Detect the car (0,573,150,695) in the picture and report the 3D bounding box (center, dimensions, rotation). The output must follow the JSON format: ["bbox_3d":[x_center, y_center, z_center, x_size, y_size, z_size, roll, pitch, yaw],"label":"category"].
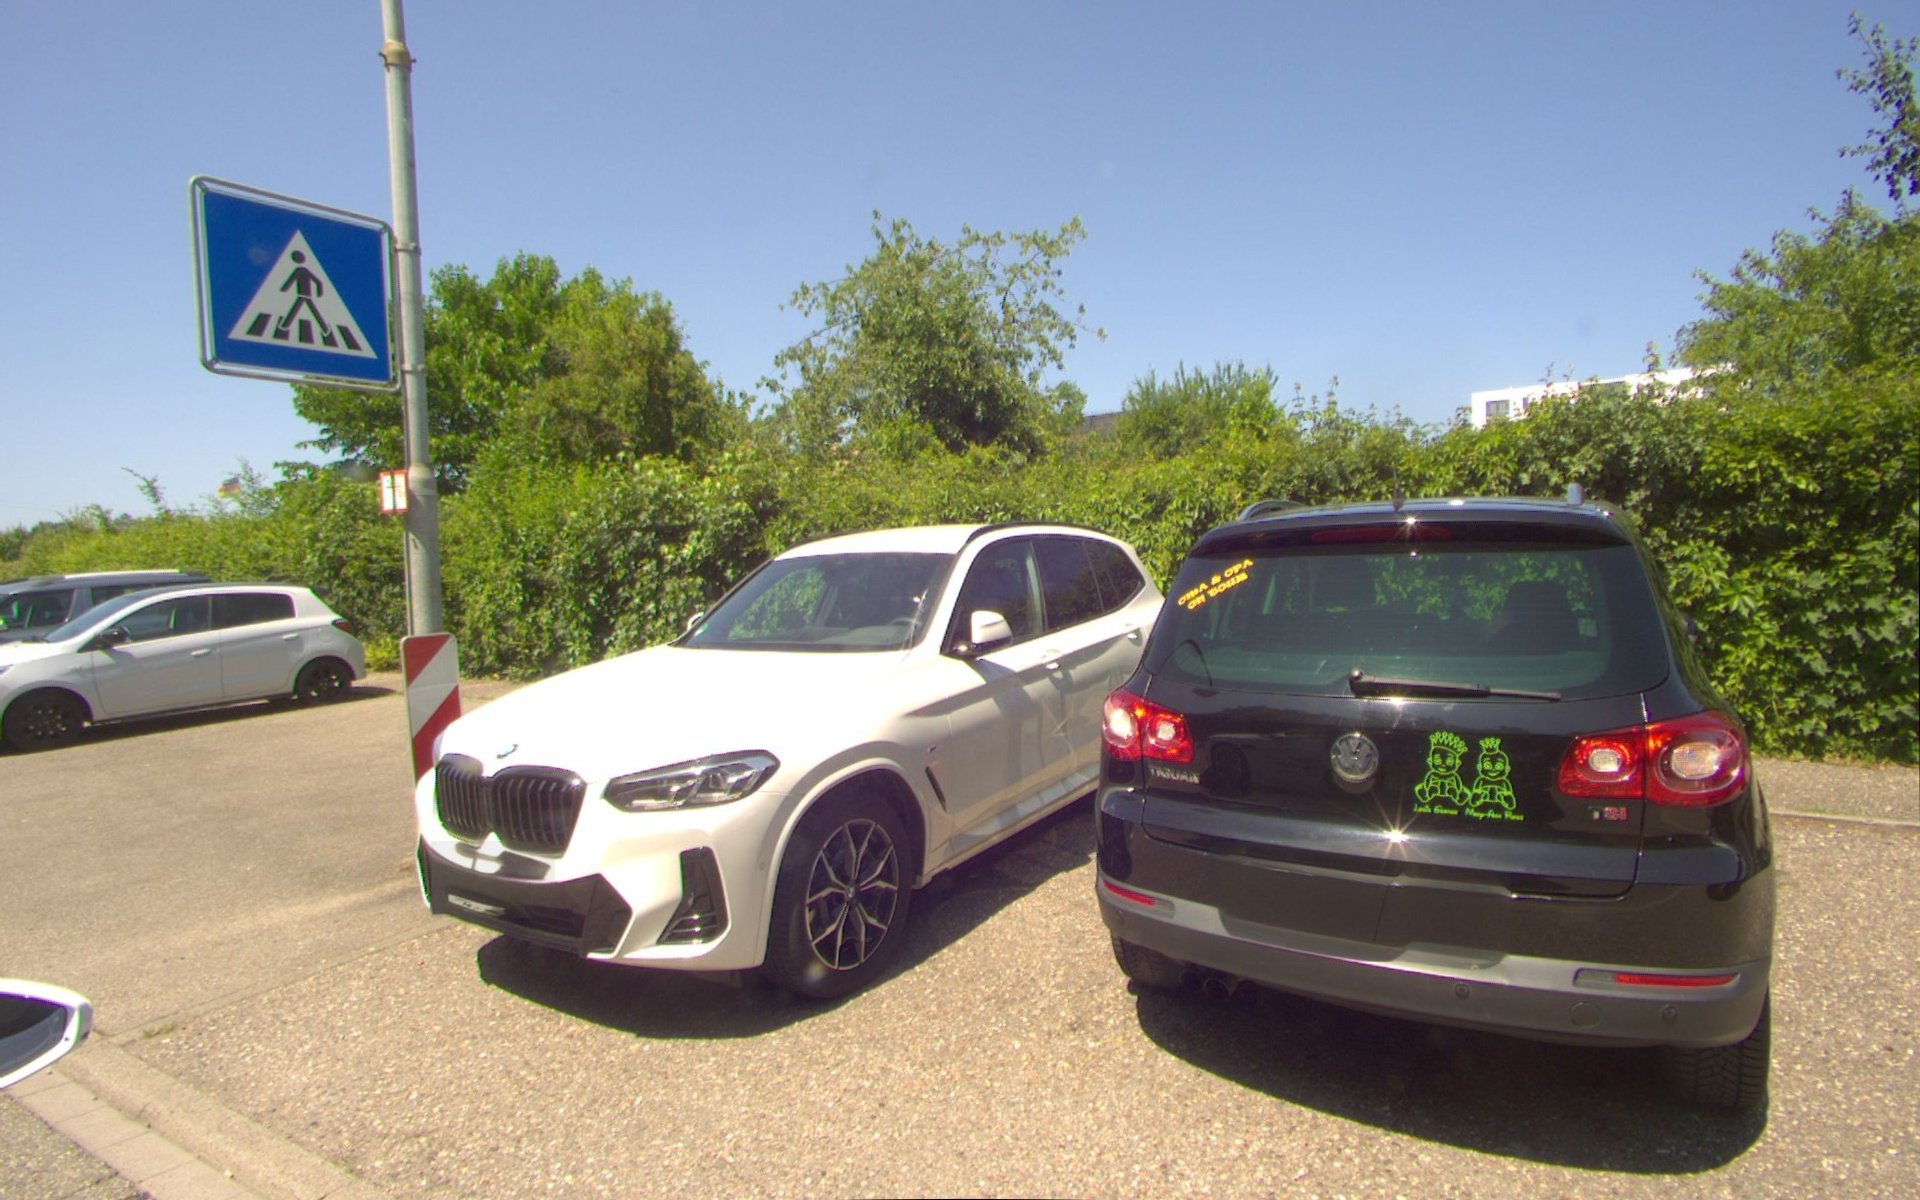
[{"bbox_3d":[-13.698,0.514,13.872,1.515,1.549,3.446,0,5,28],"label":"car"}]

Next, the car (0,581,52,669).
[{"bbox_3d":[-18.291,0.502,17.424,1.566,1.525,3.374,1,4,36],"label":"car"}]

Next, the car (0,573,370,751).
[{"bbox_3d":[-8.794,0.554,10.920,1.588,1.471,3.673,1,5,36],"label":"car"}]

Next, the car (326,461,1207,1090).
[{"bbox_3d":[-0.374,0.397,5.134,1.825,1.753,4.440,-1,3,33],"label":"car"}]

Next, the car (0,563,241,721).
[{"bbox_3d":[-11.390,0.495,12.121,1.637,1.664,3.953,0,5,27],"label":"car"}]

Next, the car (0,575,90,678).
[{"bbox_3d":[-16.179,0.519,15.240,1.835,1.545,3.955,0,5,27],"label":"car"}]

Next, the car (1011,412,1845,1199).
[{"bbox_3d":[1.931,0.414,4.023,1.741,1.709,3.962,0,3,32],"label":"car"}]
